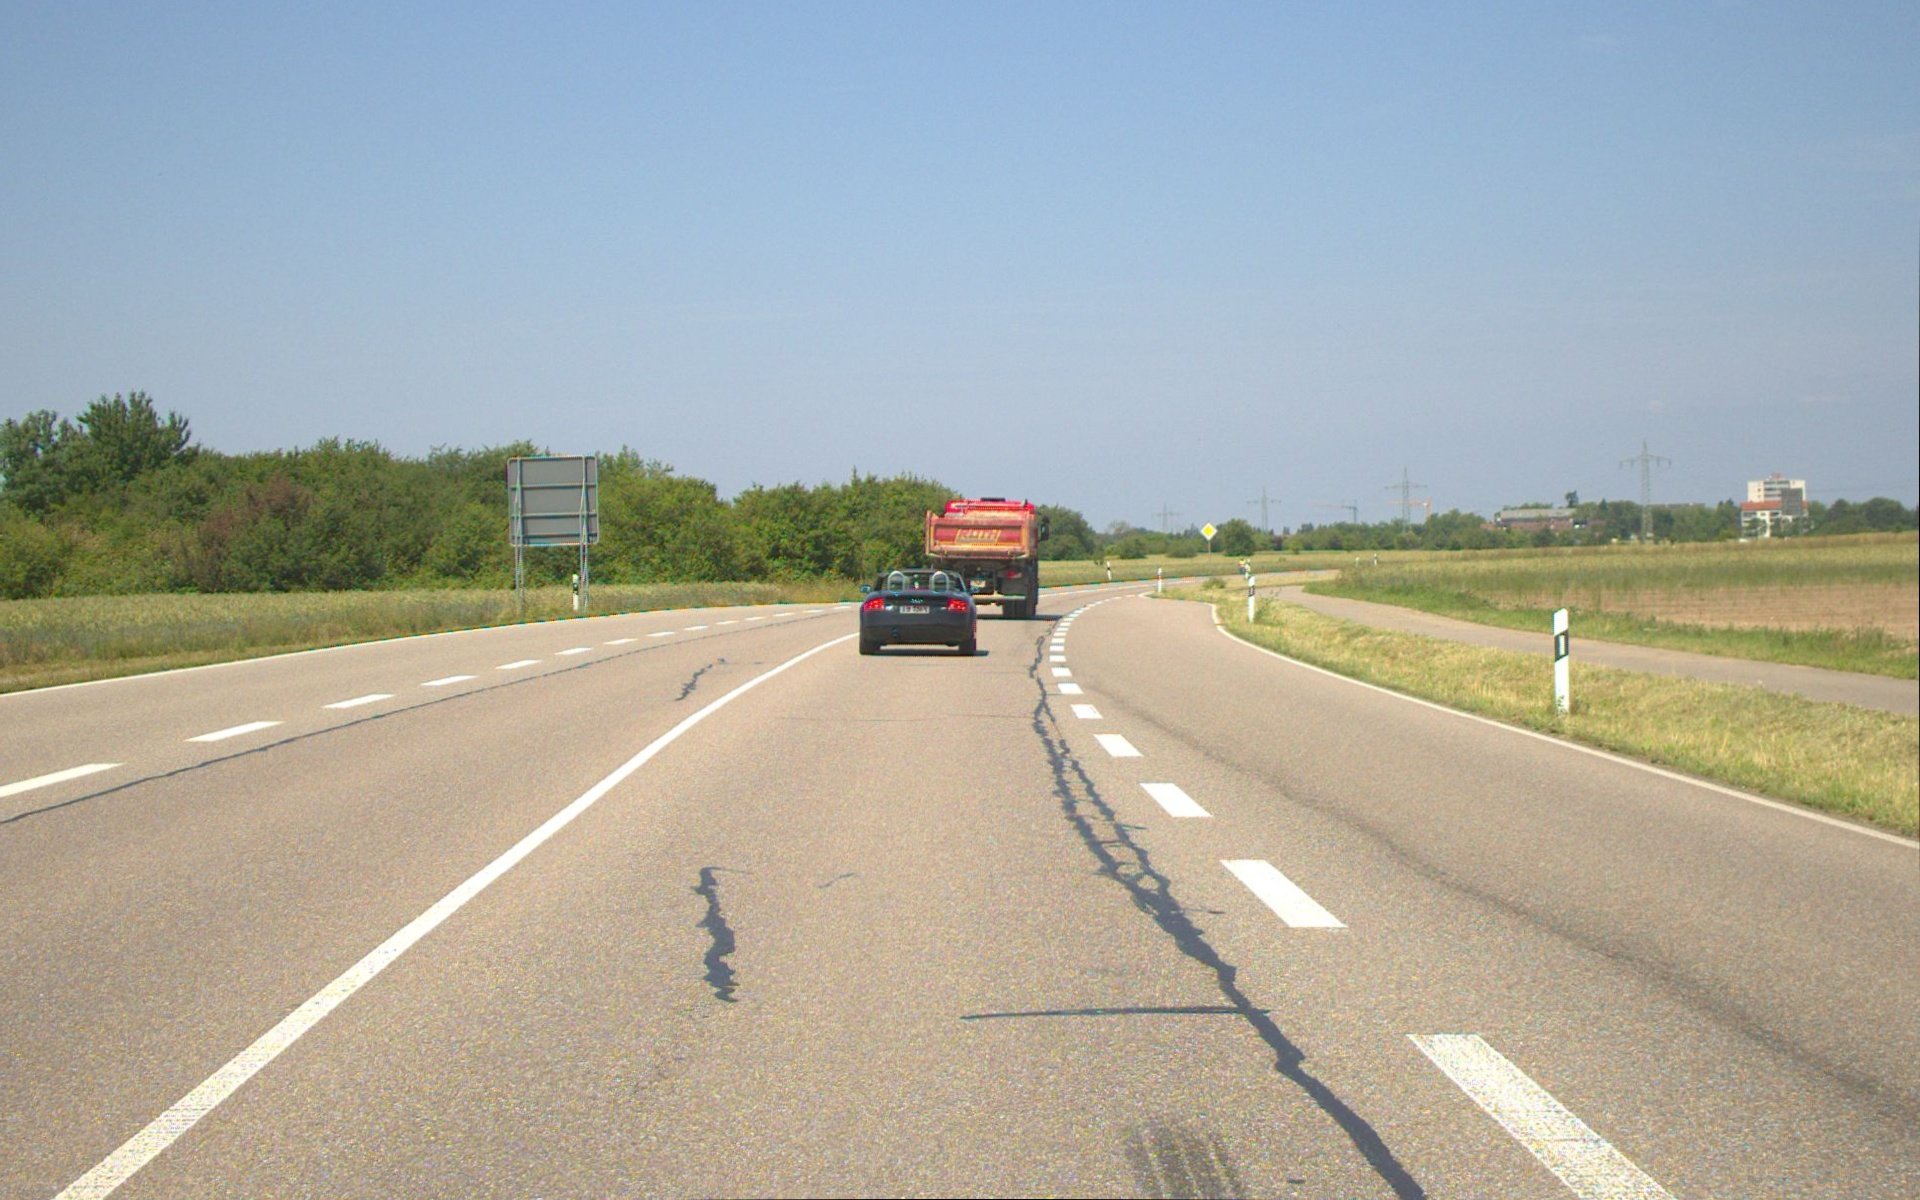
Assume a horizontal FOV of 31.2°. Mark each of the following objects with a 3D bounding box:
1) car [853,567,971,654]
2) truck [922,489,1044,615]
[{"bbox_3d":[-0.717,0.136,52.731,1.744,1.275,4.000,0,1,0],"label":"car"},{"bbox_3d":[0.644,-1.204,87.699,2.938,3.078,7.196,0,0,2],"label":"truck"}]
